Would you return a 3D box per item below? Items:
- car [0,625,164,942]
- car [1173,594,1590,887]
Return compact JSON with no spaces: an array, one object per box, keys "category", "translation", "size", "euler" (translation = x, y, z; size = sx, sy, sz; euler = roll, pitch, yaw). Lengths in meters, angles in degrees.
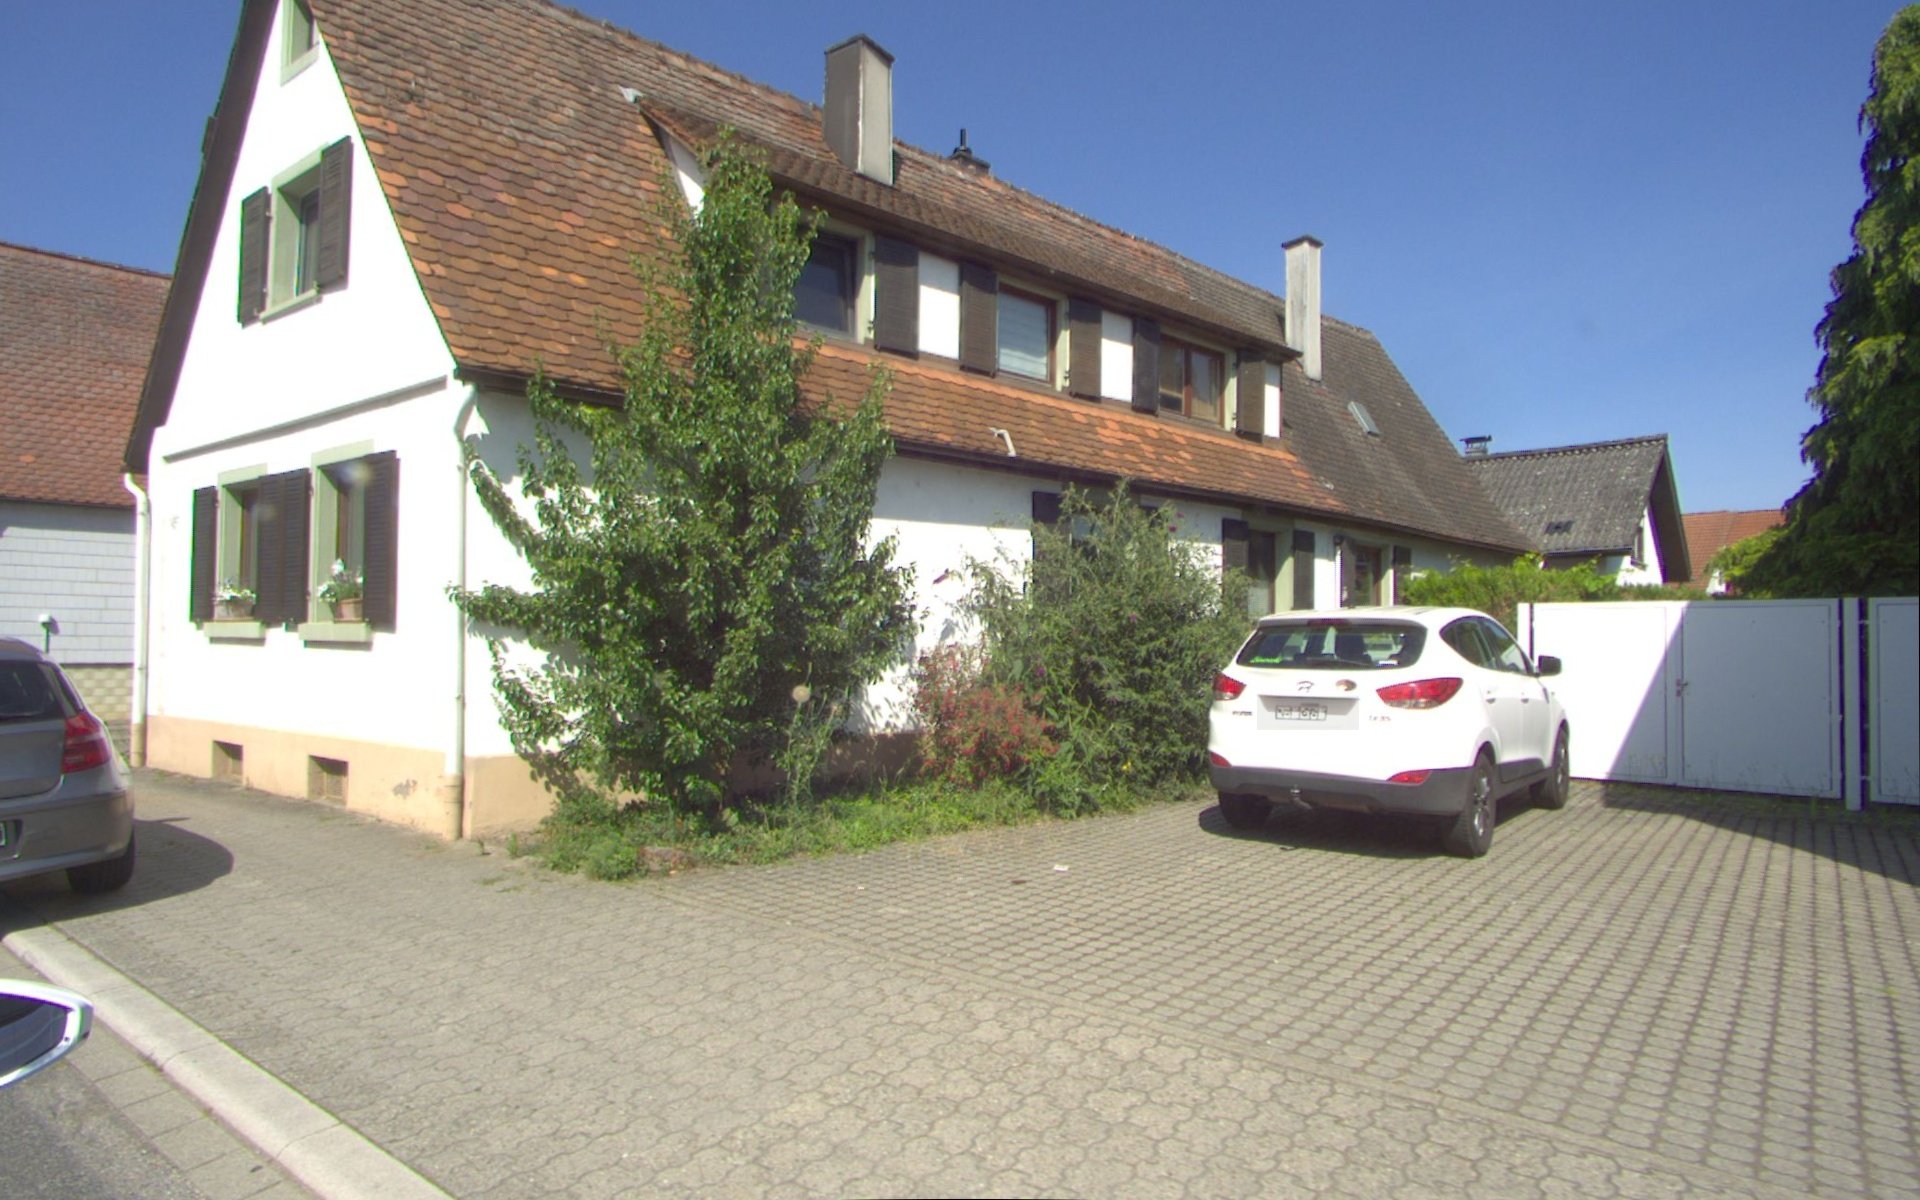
[{"category":"car","translation":[-6.127,0.883,5.537],"size":[3.837,1.451,1.699],"euler":[-1,-1,35]},{"category":"car","translation":[3.519,0.895,7.904],"size":[1.792,1.678,4.155],"euler":[-2,-3,42]}]
